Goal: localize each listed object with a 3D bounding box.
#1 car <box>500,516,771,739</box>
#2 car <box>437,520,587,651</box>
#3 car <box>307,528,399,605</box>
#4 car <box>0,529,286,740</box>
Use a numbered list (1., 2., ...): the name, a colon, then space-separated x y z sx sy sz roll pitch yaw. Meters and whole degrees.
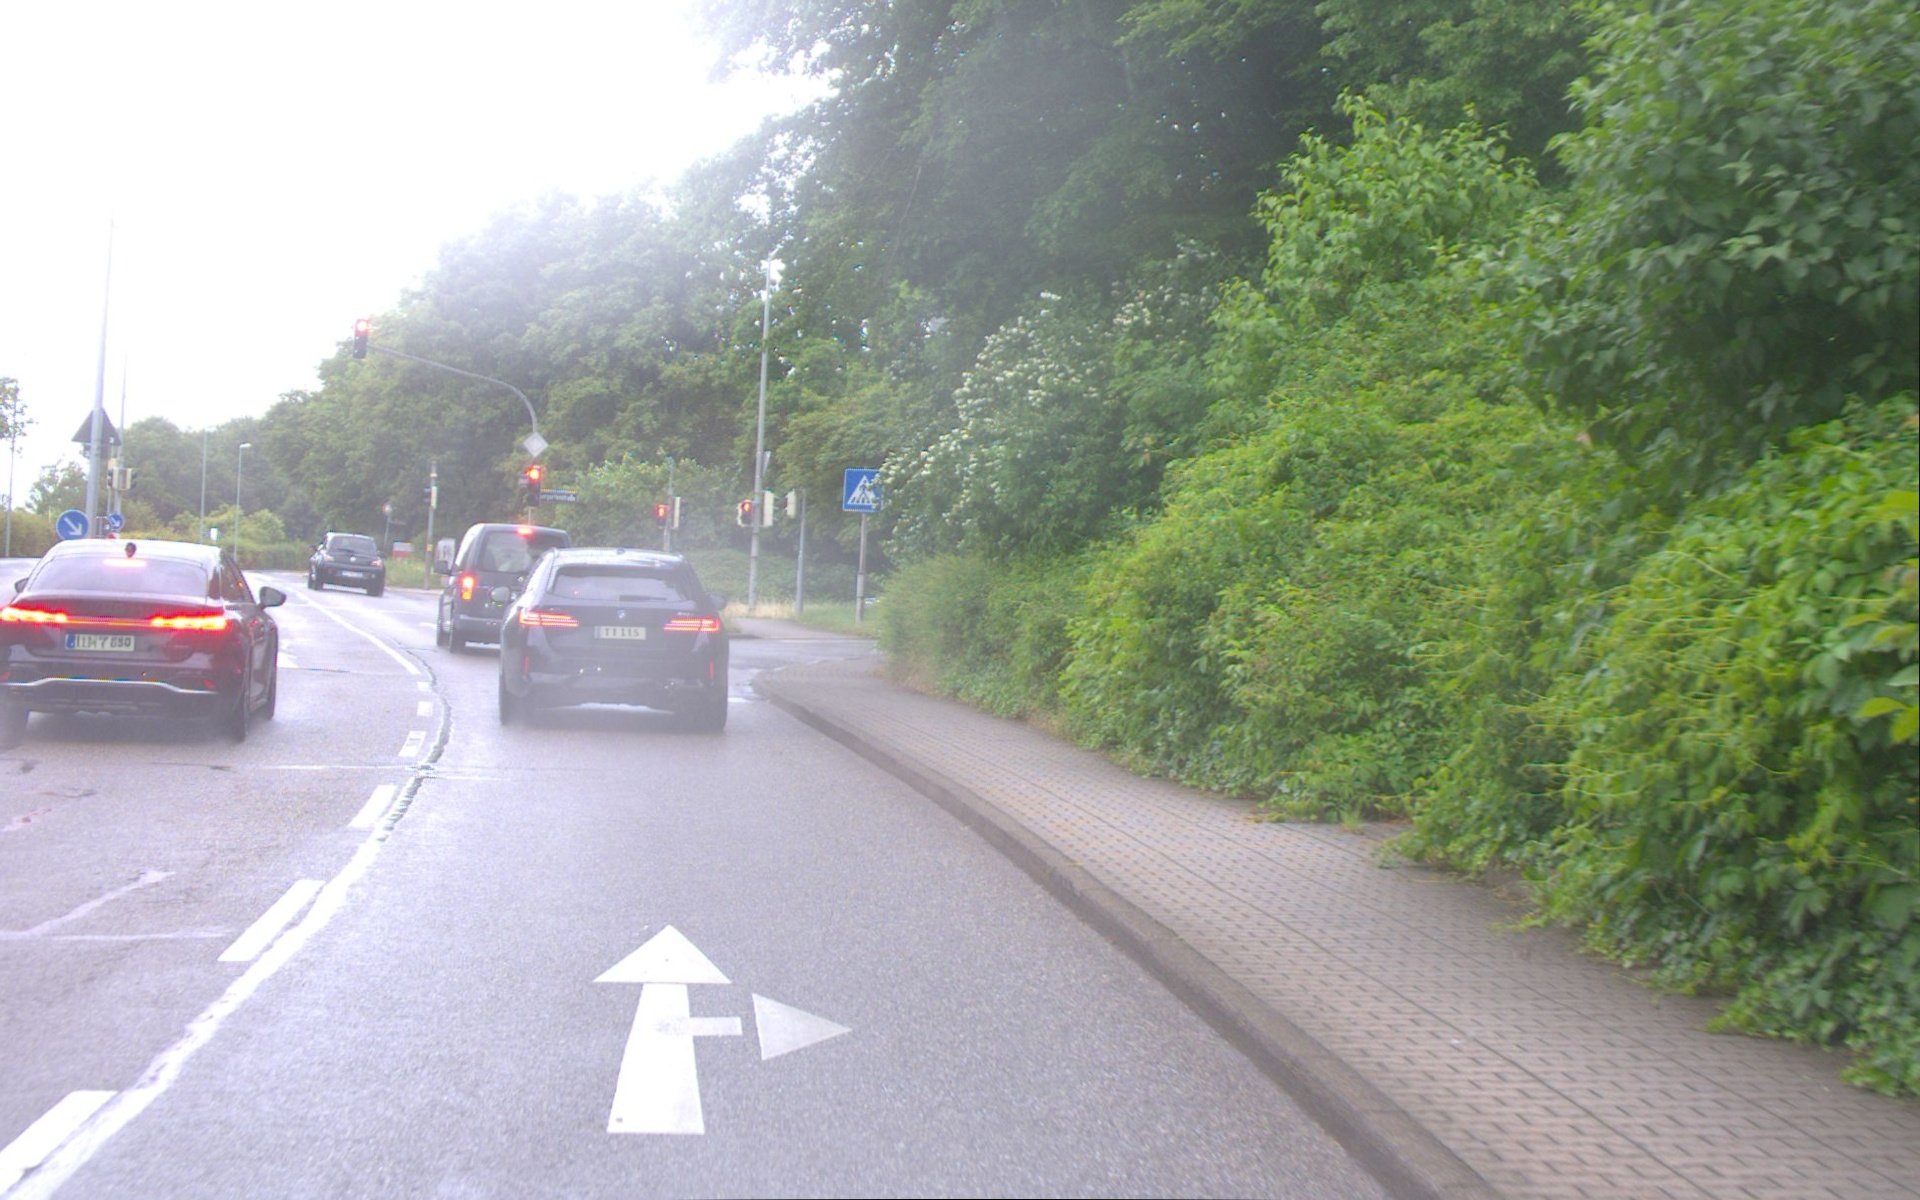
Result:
1. car: -2.911 0.173 29.923 1.993 1.580 4.665 2 3 -9
2. car: -6.335 -0.194 48.600 1.993 1.743 4.001 1 0 -7
3. car: -15.082 -0.805 85.297 1.850 1.656 4.001 3 -3 -15
4. car: -6.263 0.196 26.375 1.905 1.393 4.858 0 2 -8
